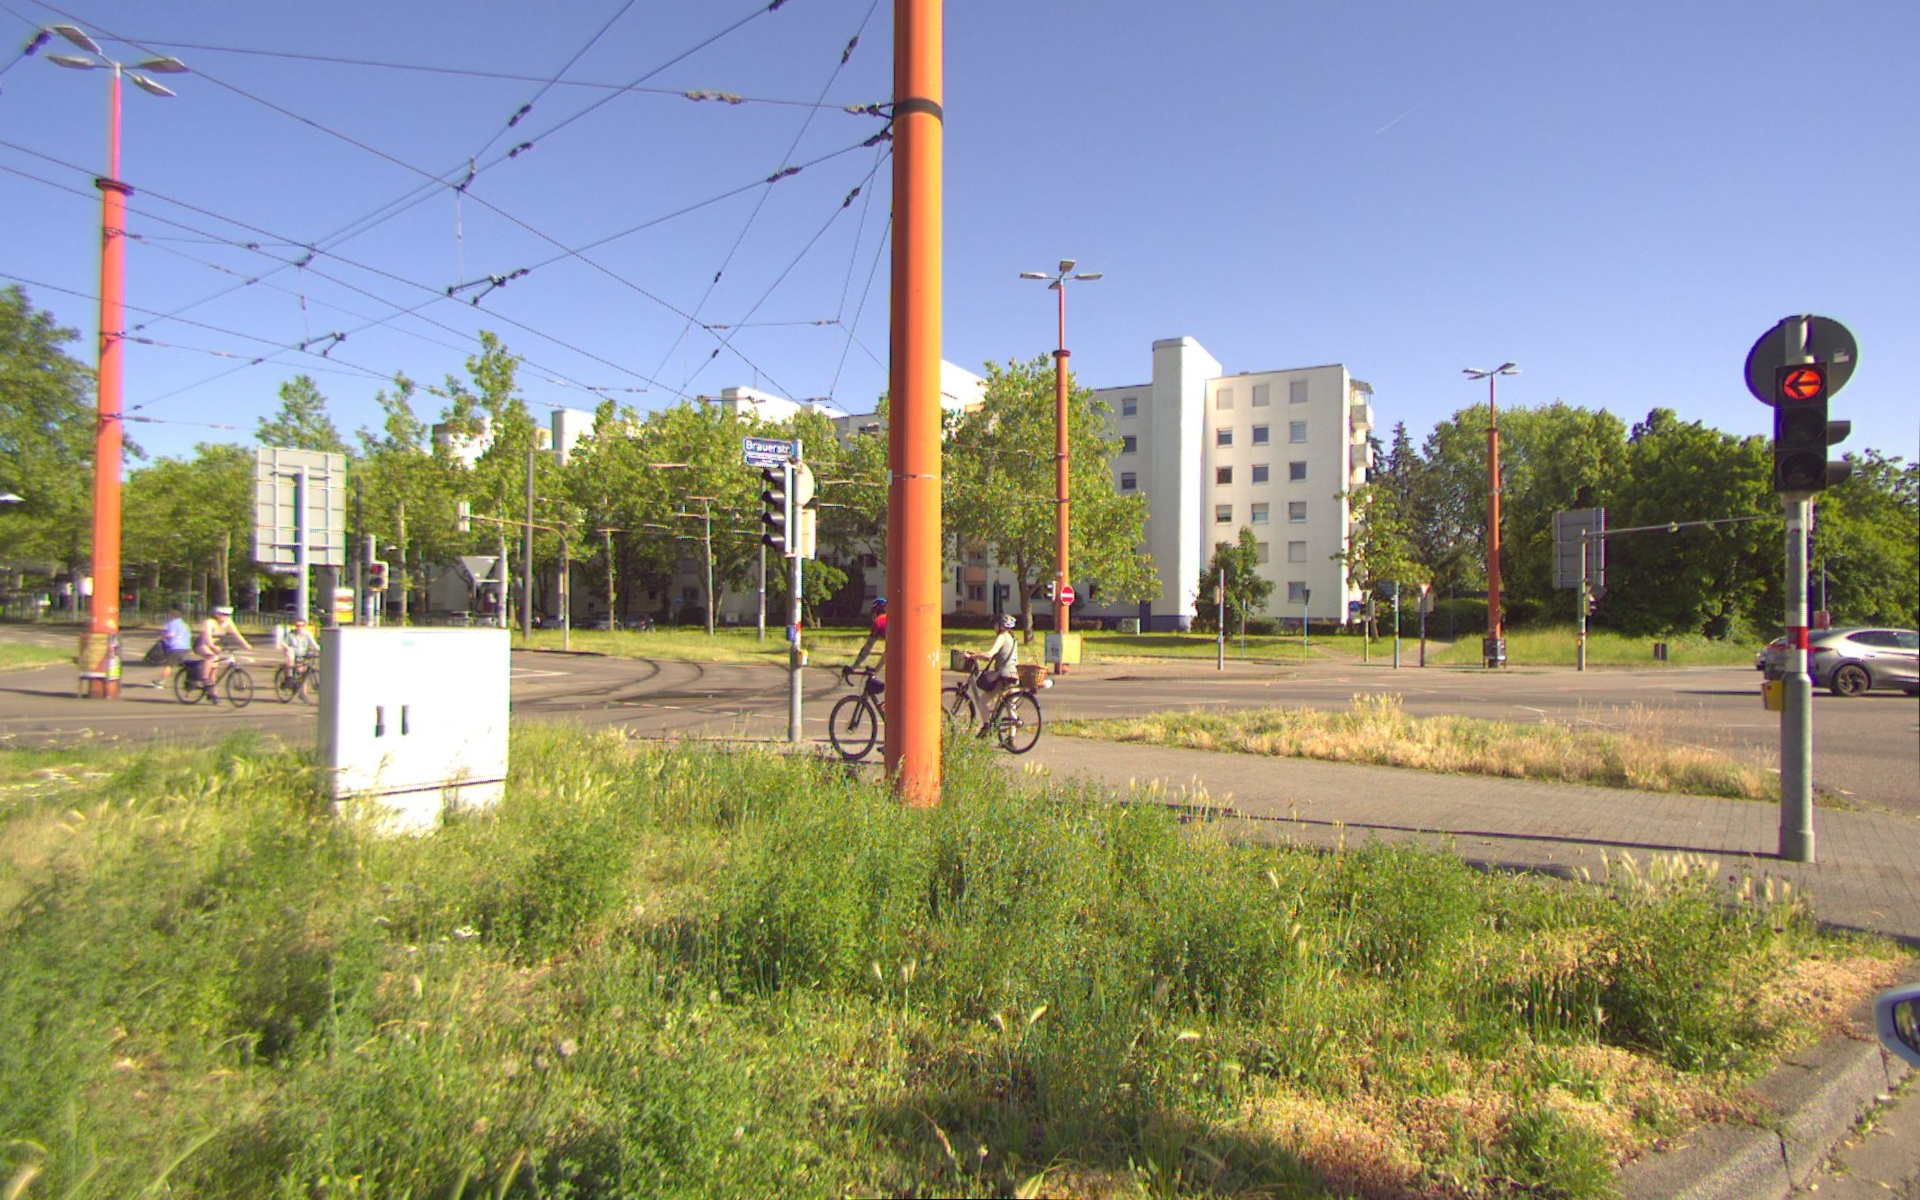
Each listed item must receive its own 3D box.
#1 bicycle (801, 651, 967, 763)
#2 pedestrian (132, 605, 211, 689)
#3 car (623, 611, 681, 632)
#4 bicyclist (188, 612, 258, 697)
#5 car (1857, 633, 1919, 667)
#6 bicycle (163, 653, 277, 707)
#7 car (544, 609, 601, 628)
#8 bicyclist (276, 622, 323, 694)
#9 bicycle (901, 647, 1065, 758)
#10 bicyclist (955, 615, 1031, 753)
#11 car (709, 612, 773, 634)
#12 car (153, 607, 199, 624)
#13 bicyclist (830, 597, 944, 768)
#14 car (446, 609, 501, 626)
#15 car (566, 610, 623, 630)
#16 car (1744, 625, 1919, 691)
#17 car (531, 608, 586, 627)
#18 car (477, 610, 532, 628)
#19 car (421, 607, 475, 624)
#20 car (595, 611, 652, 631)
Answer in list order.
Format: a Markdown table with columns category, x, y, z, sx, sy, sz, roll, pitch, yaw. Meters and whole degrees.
| category | x | y | z | sx | sy | sz | roll | pitch | yaw |
| --- | --- | --- | --- | --- | --- | --- | --- | --- | --- |
| bicycle | -0.855 | 1.119 | 10.961 | 1.804 | 1.071 | 0.719 | 0 | -1 | 40 |
| pedestrian | -17.680 | 1.045 | 22.544 | 0.968 | 1.817 | 0.955 | 1 | -1 | 12 |
| car | -22.251 | 1.553 | 72.642 | 3.934 | 1.428 | 1.794 | 1 | -1 | -16 |
| bicyclist | -13.917 | 1.027 | 18.985 | 0.752 | 1.565 | 0.732 | 1 | -1 | -1 |
| car | 37.161 | 1.963 | 39.618 | 3.571 | 1.260 | 1.730 | 1 | -1 | -31 |
| bicycle | -13.966 | 1.506 | 18.979 | 1.612 | 0.974 | 0.685 | 1 | -1 | -1 |
| car | -30.072 | 1.424 | 78.071 | 3.934 | 1.428 | 1.794 | 1 | -1 | -16 |
| bicyclist | -13.106 | 1.146 | 19.950 | 0.616 | 1.399 | 0.443 | 1 | -1 | -1 |
| bicycle | 0.265 | 1.199 | 12.208 | 1.915 | 1.210 | 0.690 | 0 | -1 | 33 |
| bicyclist | 0.398 | 0.986 | 12.120 | 0.651 | 1.605 | 0.671 | 0 | -1 | 33 |
| car | -14.538 | 1.556 | 66.838 | 1.770 | 1.428 | 3.987 | 0 | -1 | 35 |
| car | -93.985 | 1.892 | 120.451 | 1.969 | 2.040 | 3.984 | 0 | -1 | 38 |
| bicyclist | -0.796 | 0.864 | 10.966 | 0.981 | 1.764 | 0.734 | 0 | -1 | 37 |
| car | -41.431 | 1.493 | 85.621 | 3.935 | 1.428 | 1.794 | 1 | -1 | -17 |
| car | -27.573 | 1.492 | 75.916 | 3.934 | 1.428 | 1.794 | 1 | -1 | -16 |
| car | 21.386 | 1.344 | 23.613 | 4.347 | 1.441 | 1.838 | 0 | -1 | 6 |
| car | -31.934 | 1.375 | 79.968 | 3.935 | 1.428 | 1.794 | 1 | -1 | -17 |
| car | -38.027 | 1.574 | 83.880 | 3.935 | 1.428 | 1.794 | 1 | -1 | -17 |
| car | -44.785 | 1.395 | 87.891 | 3.935 | 1.428 | 1.794 | 1 | -1 | -17 |
| car | -24.992 | 1.562 | 74.692 | 3.934 | 1.428 | 1.794 | 1 | -1 | -16 |
